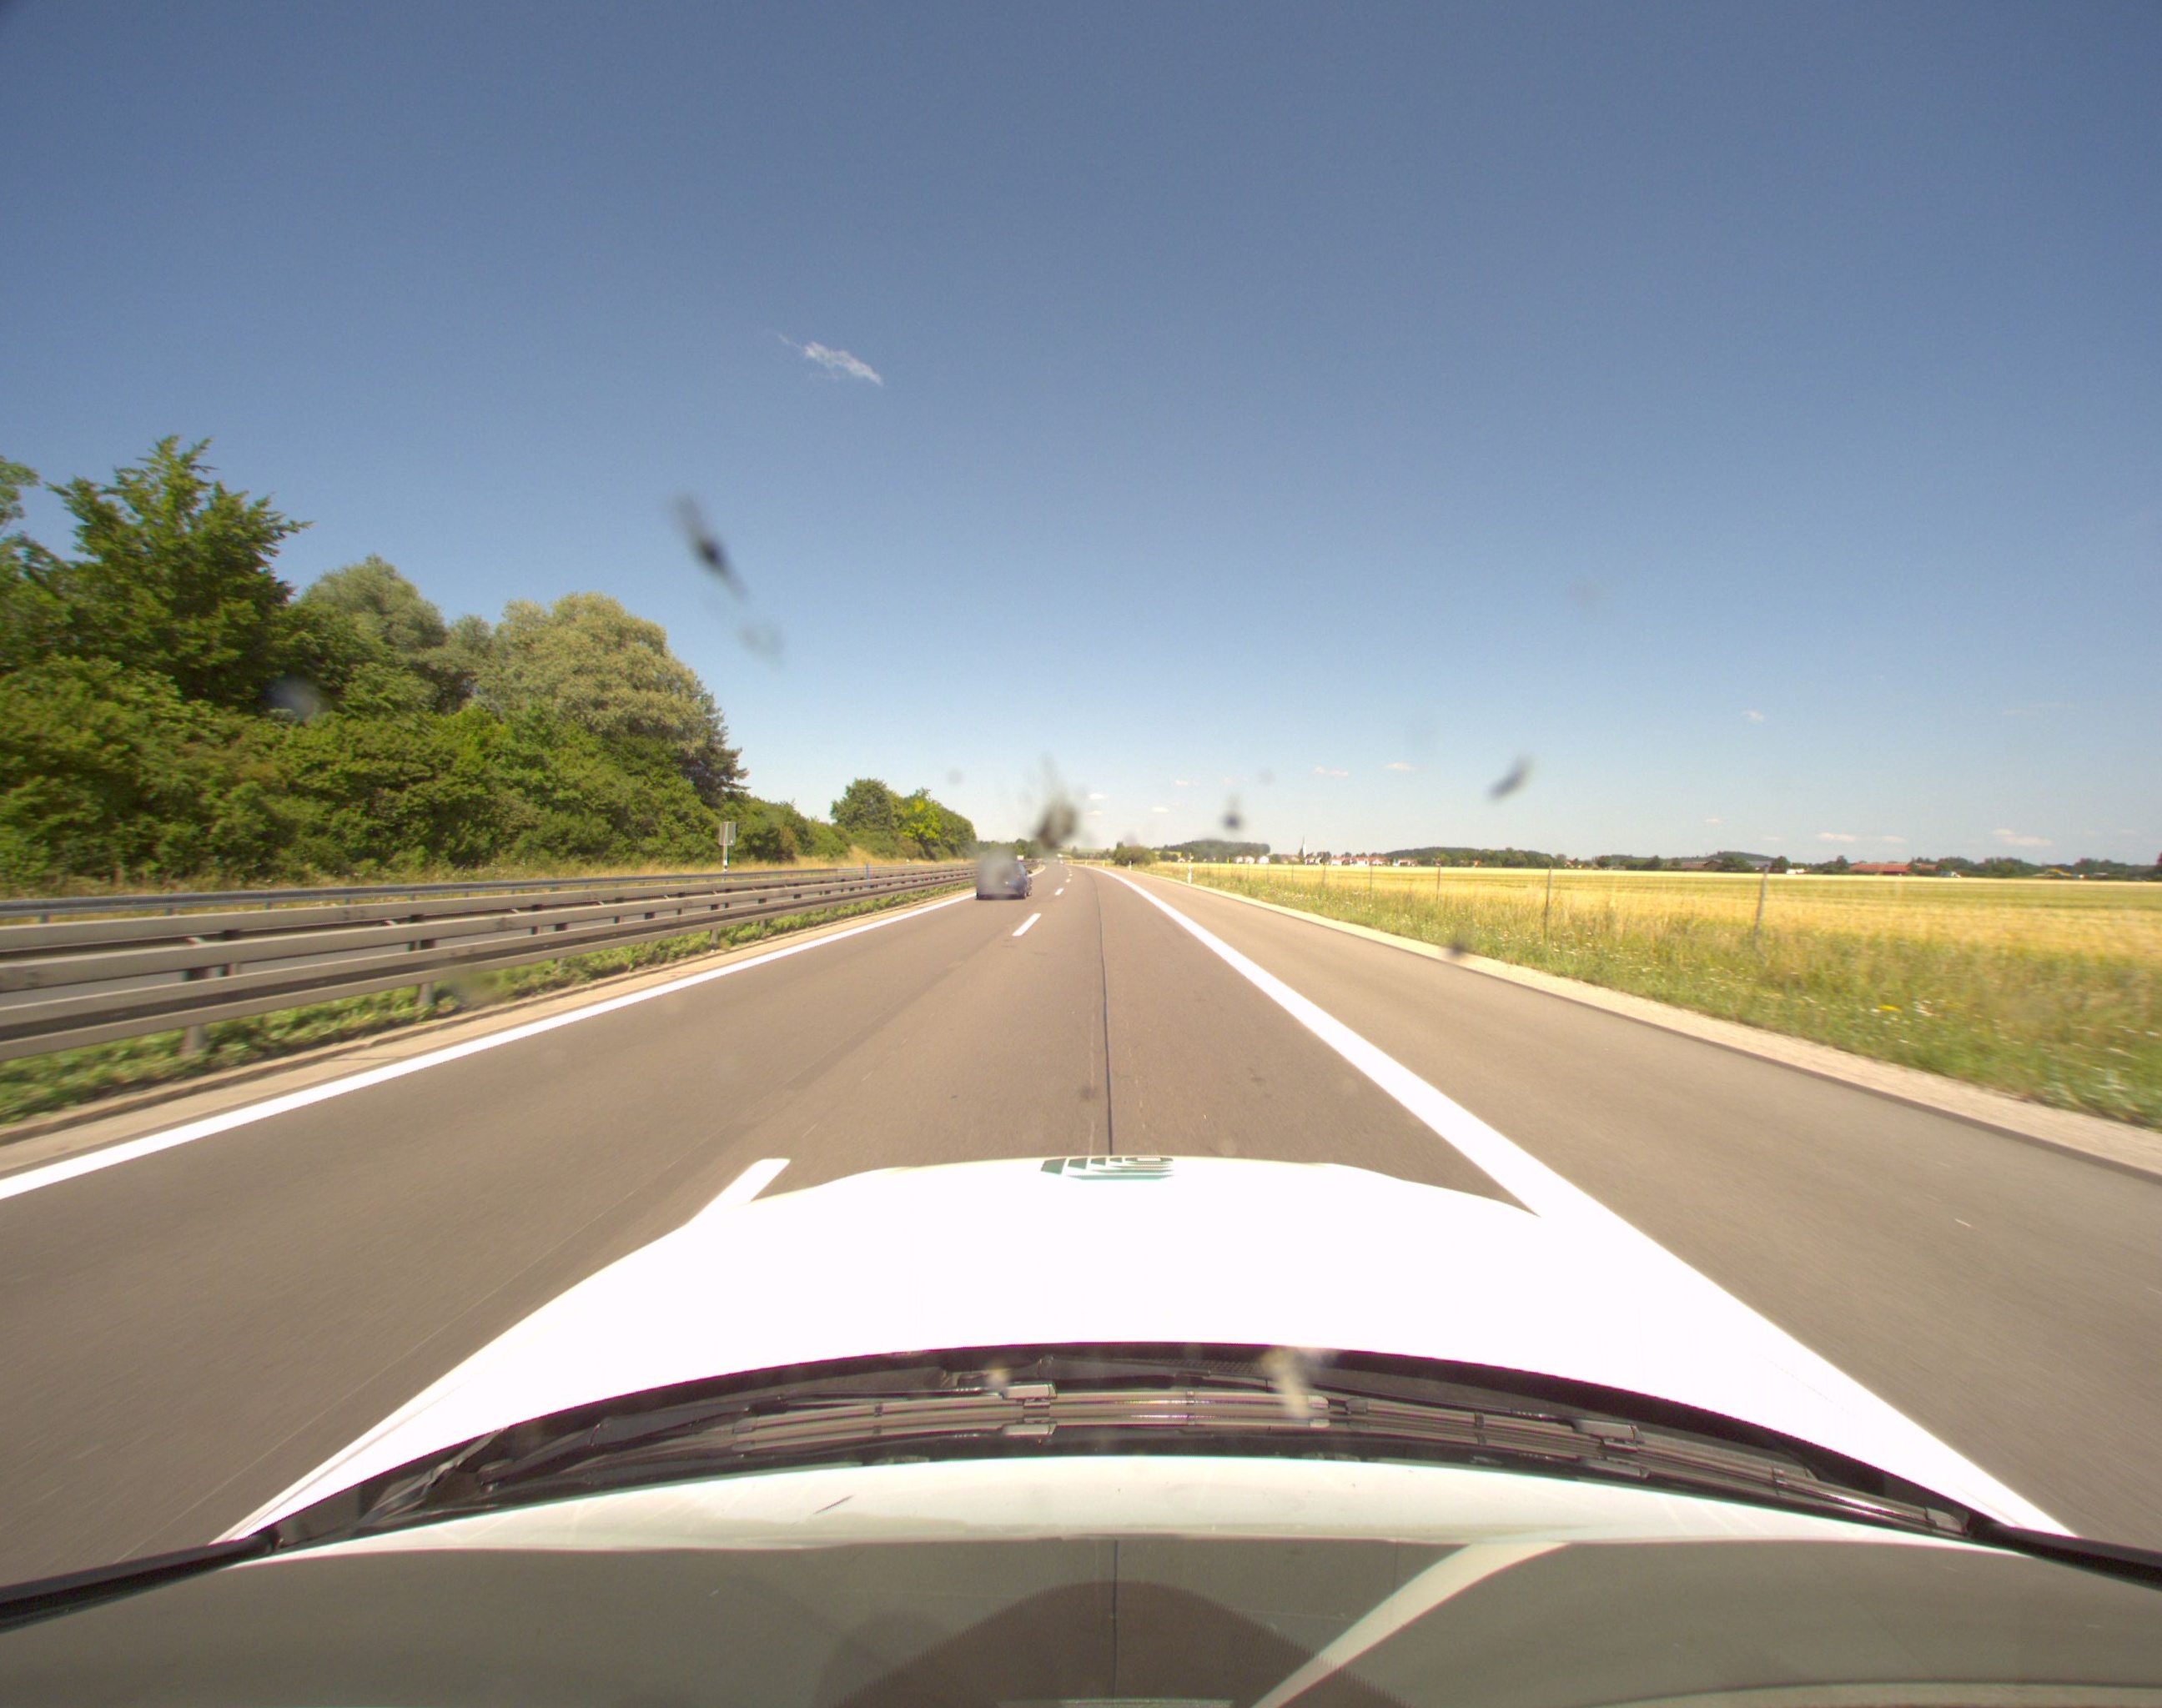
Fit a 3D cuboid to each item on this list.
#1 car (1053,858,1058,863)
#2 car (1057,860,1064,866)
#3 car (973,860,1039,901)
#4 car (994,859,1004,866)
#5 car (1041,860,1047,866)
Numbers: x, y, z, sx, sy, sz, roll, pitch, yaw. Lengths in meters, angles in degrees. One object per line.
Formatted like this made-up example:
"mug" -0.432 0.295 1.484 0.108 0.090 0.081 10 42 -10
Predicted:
"car" -7.829 1.921 249.878 1.673 1.453 3.587 0 0 -4
"car" -5.241 2.267 211.737 1.672 1.453 3.587 0 0 -3
"car" -2.863 0.980 32.392 1.840 1.433 5.868 0 0 2
"car" -17.090 1.782 169.964 1.746 1.565 4.577 1 0 -1
"car" -9.896 2.368 218.323 1.672 1.453 3.589 0 0 -2
